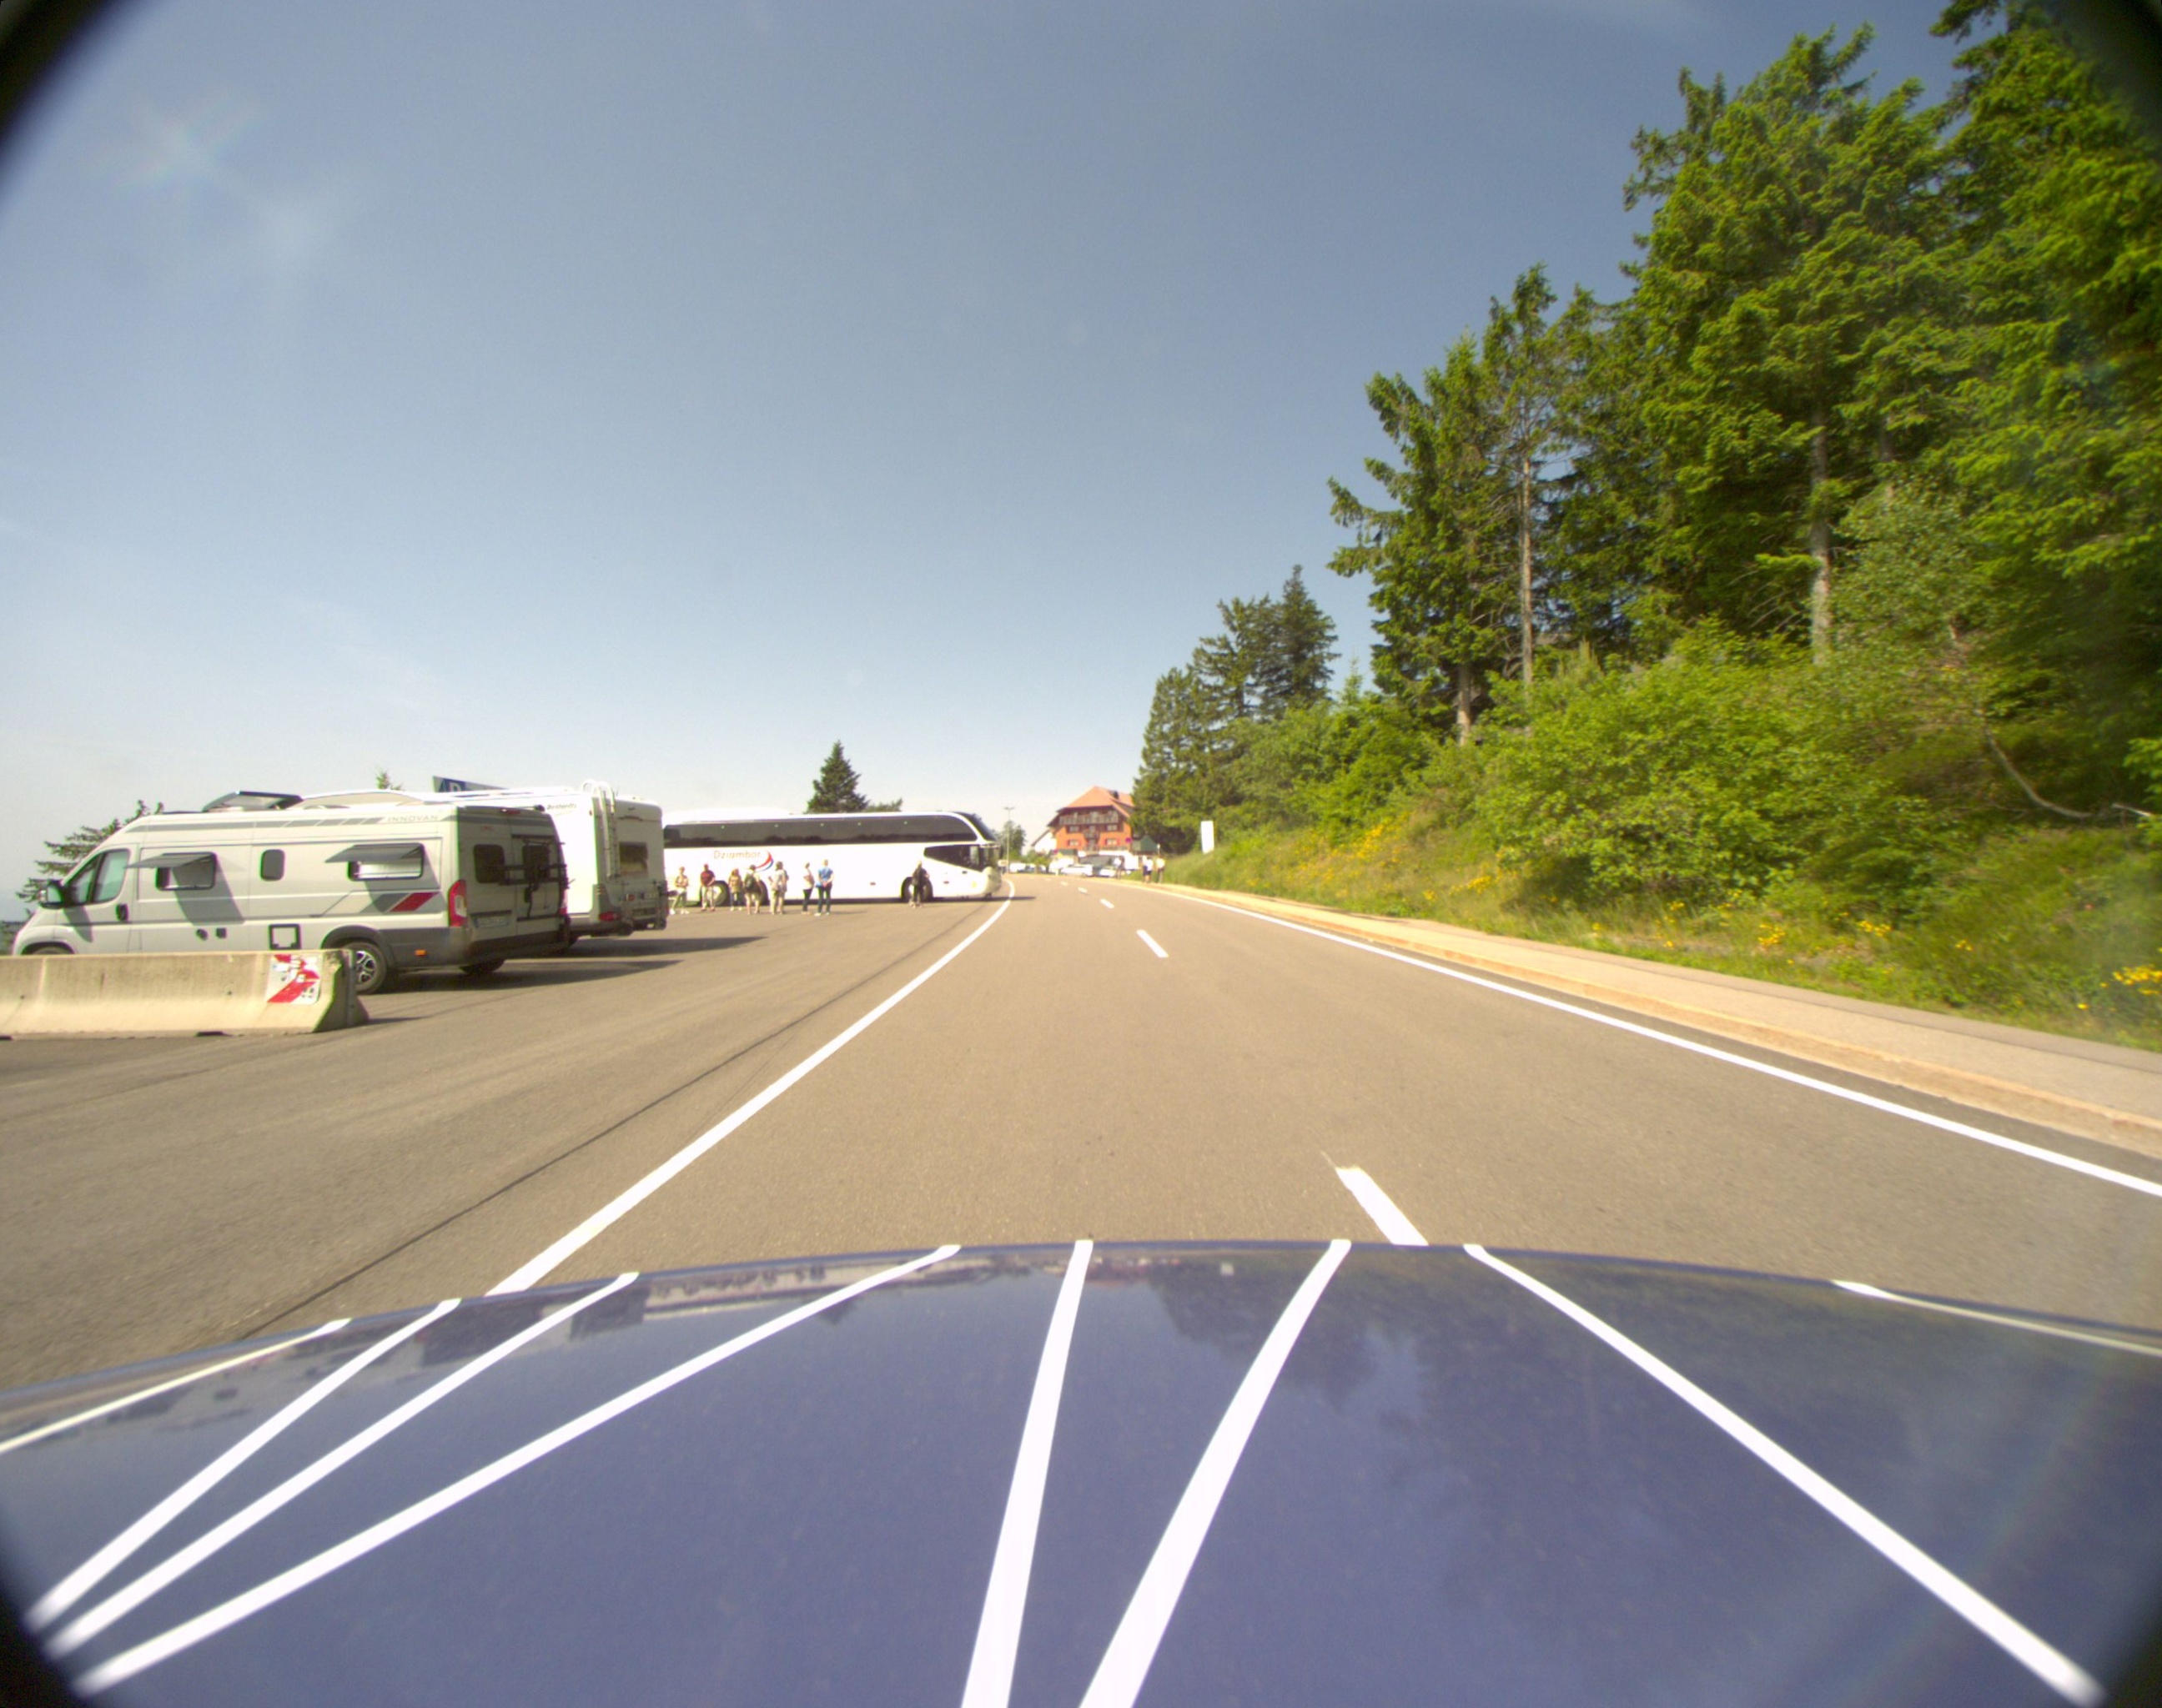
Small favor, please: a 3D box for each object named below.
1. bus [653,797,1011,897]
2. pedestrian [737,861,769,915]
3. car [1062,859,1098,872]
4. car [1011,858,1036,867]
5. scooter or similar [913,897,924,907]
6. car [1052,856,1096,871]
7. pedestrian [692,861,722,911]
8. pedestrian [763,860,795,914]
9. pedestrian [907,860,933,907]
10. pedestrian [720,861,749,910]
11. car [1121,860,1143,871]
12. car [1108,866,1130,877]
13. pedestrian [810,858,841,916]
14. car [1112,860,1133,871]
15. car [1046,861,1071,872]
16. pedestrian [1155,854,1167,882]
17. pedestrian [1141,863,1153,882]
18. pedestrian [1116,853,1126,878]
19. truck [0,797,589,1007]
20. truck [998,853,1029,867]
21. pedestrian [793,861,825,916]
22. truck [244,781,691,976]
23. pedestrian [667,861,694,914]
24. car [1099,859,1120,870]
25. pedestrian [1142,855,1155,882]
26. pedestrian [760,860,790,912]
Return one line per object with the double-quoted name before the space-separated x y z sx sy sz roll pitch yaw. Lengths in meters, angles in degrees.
"bus" -9.330 -0.241 29.390 12.877 3.556 2.839 -1 0 1
"pedestrian" -10.313 1.054 23.916 0.631 1.687 0.629 -1 0 14
"car" -0.141 1.339 90.118 3.953 1.578 1.793 0 -1 27
"car" -12.221 1.710 161.115 5.254 1.894 1.999 0 0 -5
"scooter or similar" -5.658 1.668 26.446 0.285 0.309 0.327 -1 0 9
"car" -0.900 1.237 98.105 5.351 1.858 2.003 0 0 22
"pedestrian" -12.814 1.085 26.043 0.631 1.687 0.629 -1 0 14
"pedestrian" -9.445 1.022 23.779 0.631 1.688 0.629 -1 0 14
"pedestrian" -5.443 0.990 25.732 0.631 1.558 0.629 -1 0 14
"pedestrian" -11.923 1.075 26.133 0.631 1.687 0.629 -1 0 14
"car" 6.680 1.541 99.127 1.714 1.425 3.322 0 -1 28
"car" 5.262 2.410 105.724 1.727 1.456 3.527 -1 0 27
"pedestrian" -7.746 0.989 23.052 0.631 1.747 0.629 -1 0 14
"car" 5.637 1.613 102.482 1.637 1.425 3.323 -2 -3 28
"car" -3.407 1.866 113.106 3.325 1.583 1.720 0 -1 34
"pedestrian" 4.687 0.830 44.544 0.578 1.633 0.894 0 0 -3
"pedestrian" 3.752 1.036 43.114 0.570 1.095 0.744 0 0 -3
"pedestrian" 2.839 0.800 54.016 0.581 1.731 0.686 0 0 -13
"truck" -10.810 0.629 10.702 6.275 2.575 2.341 -1 0 2
"truck" -14.874 1.297 168.589 2.863 2.813 8.776 -1 0 23
"pedestrian" -8.398 1.055 23.447 0.630 1.641 0.629 -1 0 24
"truck" -10.981 0.397 14.099 6.079 3.177 2.532 -1 1 -2
"pedestrian" -13.097 1.086 24.841 0.633 1.687 0.626 -1 1 -41
"car" 4.097 1.518 108.334 1.710 1.543 3.141 0 0 30
"pedestrian" 3.944 0.833 44.363 0.582 1.528 0.879 0 0 -6
"pedestrian" -10.016 1.032 24.885 0.631 1.669 0.629 -1 0 14
